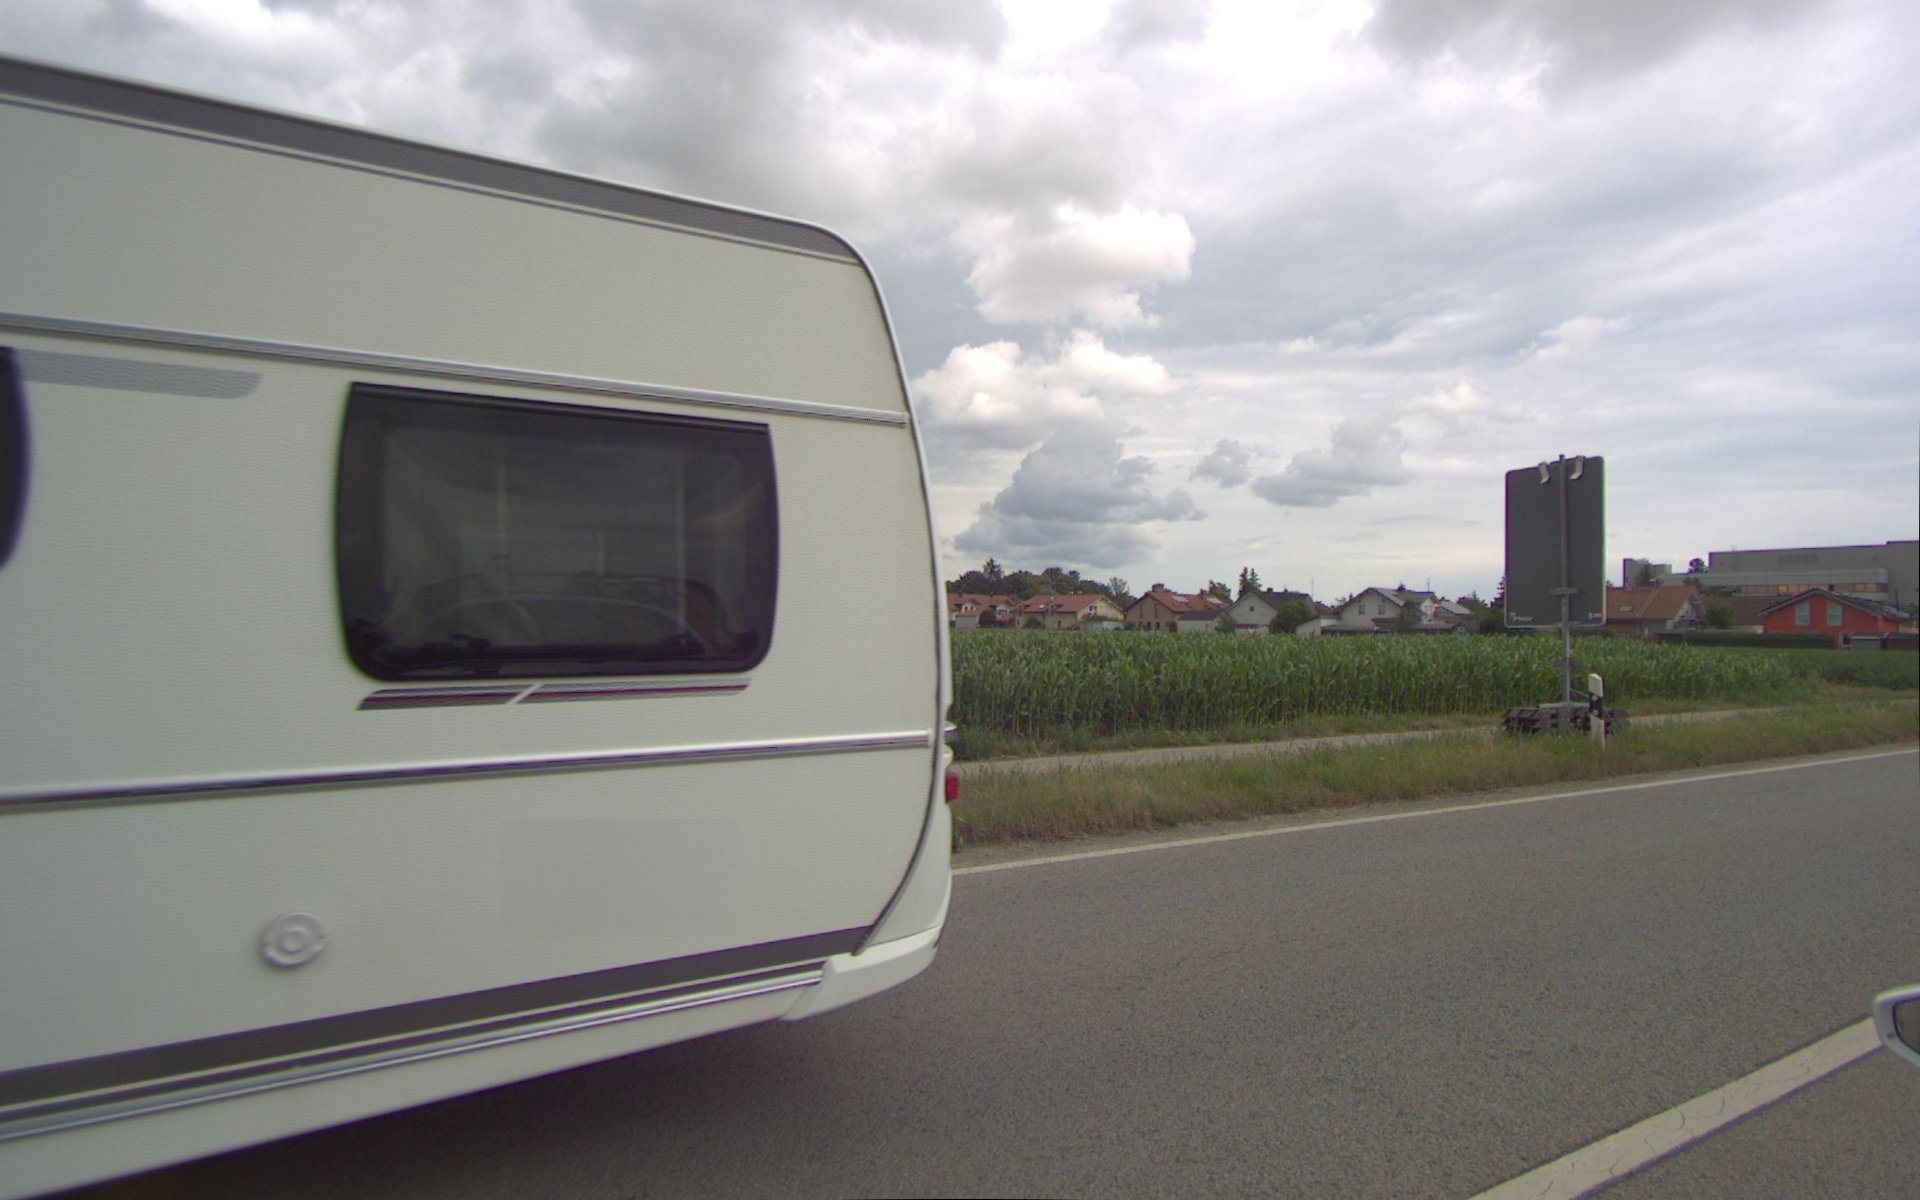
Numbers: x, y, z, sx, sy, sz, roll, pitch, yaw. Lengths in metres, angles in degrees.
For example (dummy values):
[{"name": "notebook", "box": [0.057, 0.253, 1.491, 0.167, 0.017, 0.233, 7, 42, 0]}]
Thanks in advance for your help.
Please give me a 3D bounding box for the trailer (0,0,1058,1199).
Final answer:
[{"name": "trailer", "box": [-3.637, 0.123, 2.059, 7.749, 2.765, 2.314, 2, -2, -30]}]
